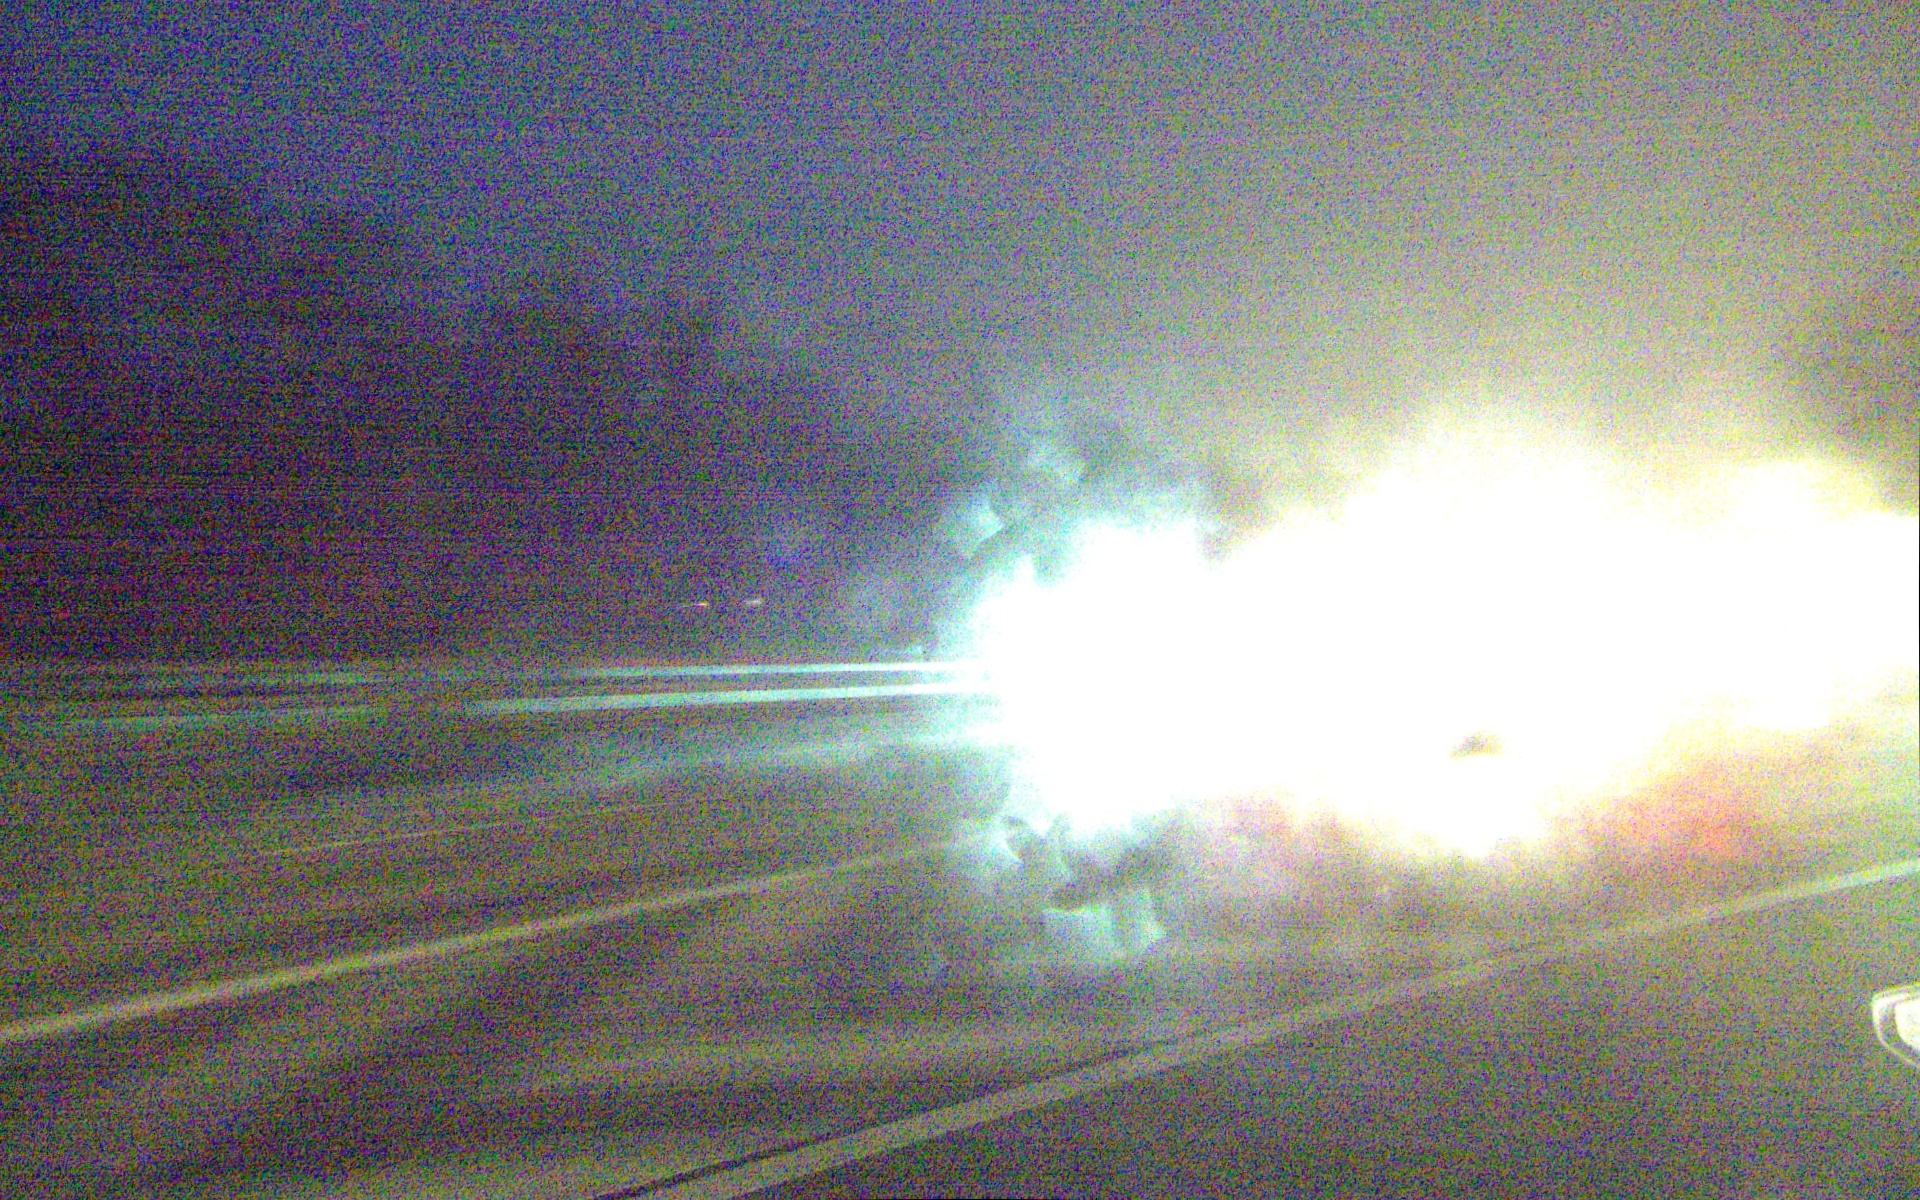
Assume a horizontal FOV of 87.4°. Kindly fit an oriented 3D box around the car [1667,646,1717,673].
[{"bbox_3d":[44.270,3.596,60.697,1.750,1.537,4.884,-3,-4,44],"label":"car"}]

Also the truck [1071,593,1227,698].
[{"bbox_3d":[8.118,1.904,42.468,3.358,4.025,7.426,-2,-3,39],"label":"truck"}]

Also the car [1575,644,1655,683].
[{"bbox_3d":[25.311,2.447,38.774,1.941,1.398,4.026,-2,-4,43],"label":"car"}]

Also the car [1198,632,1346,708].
[{"bbox_3d":[7.202,1.590,23.013,1.633,1.595,3.825,-5,-5,44],"label":"car"}]

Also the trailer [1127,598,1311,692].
[{"bbox_3d":[12.809,2.175,48.285,3.398,3.928,13.307,-1,-3,39],"label":"trailer"}]
